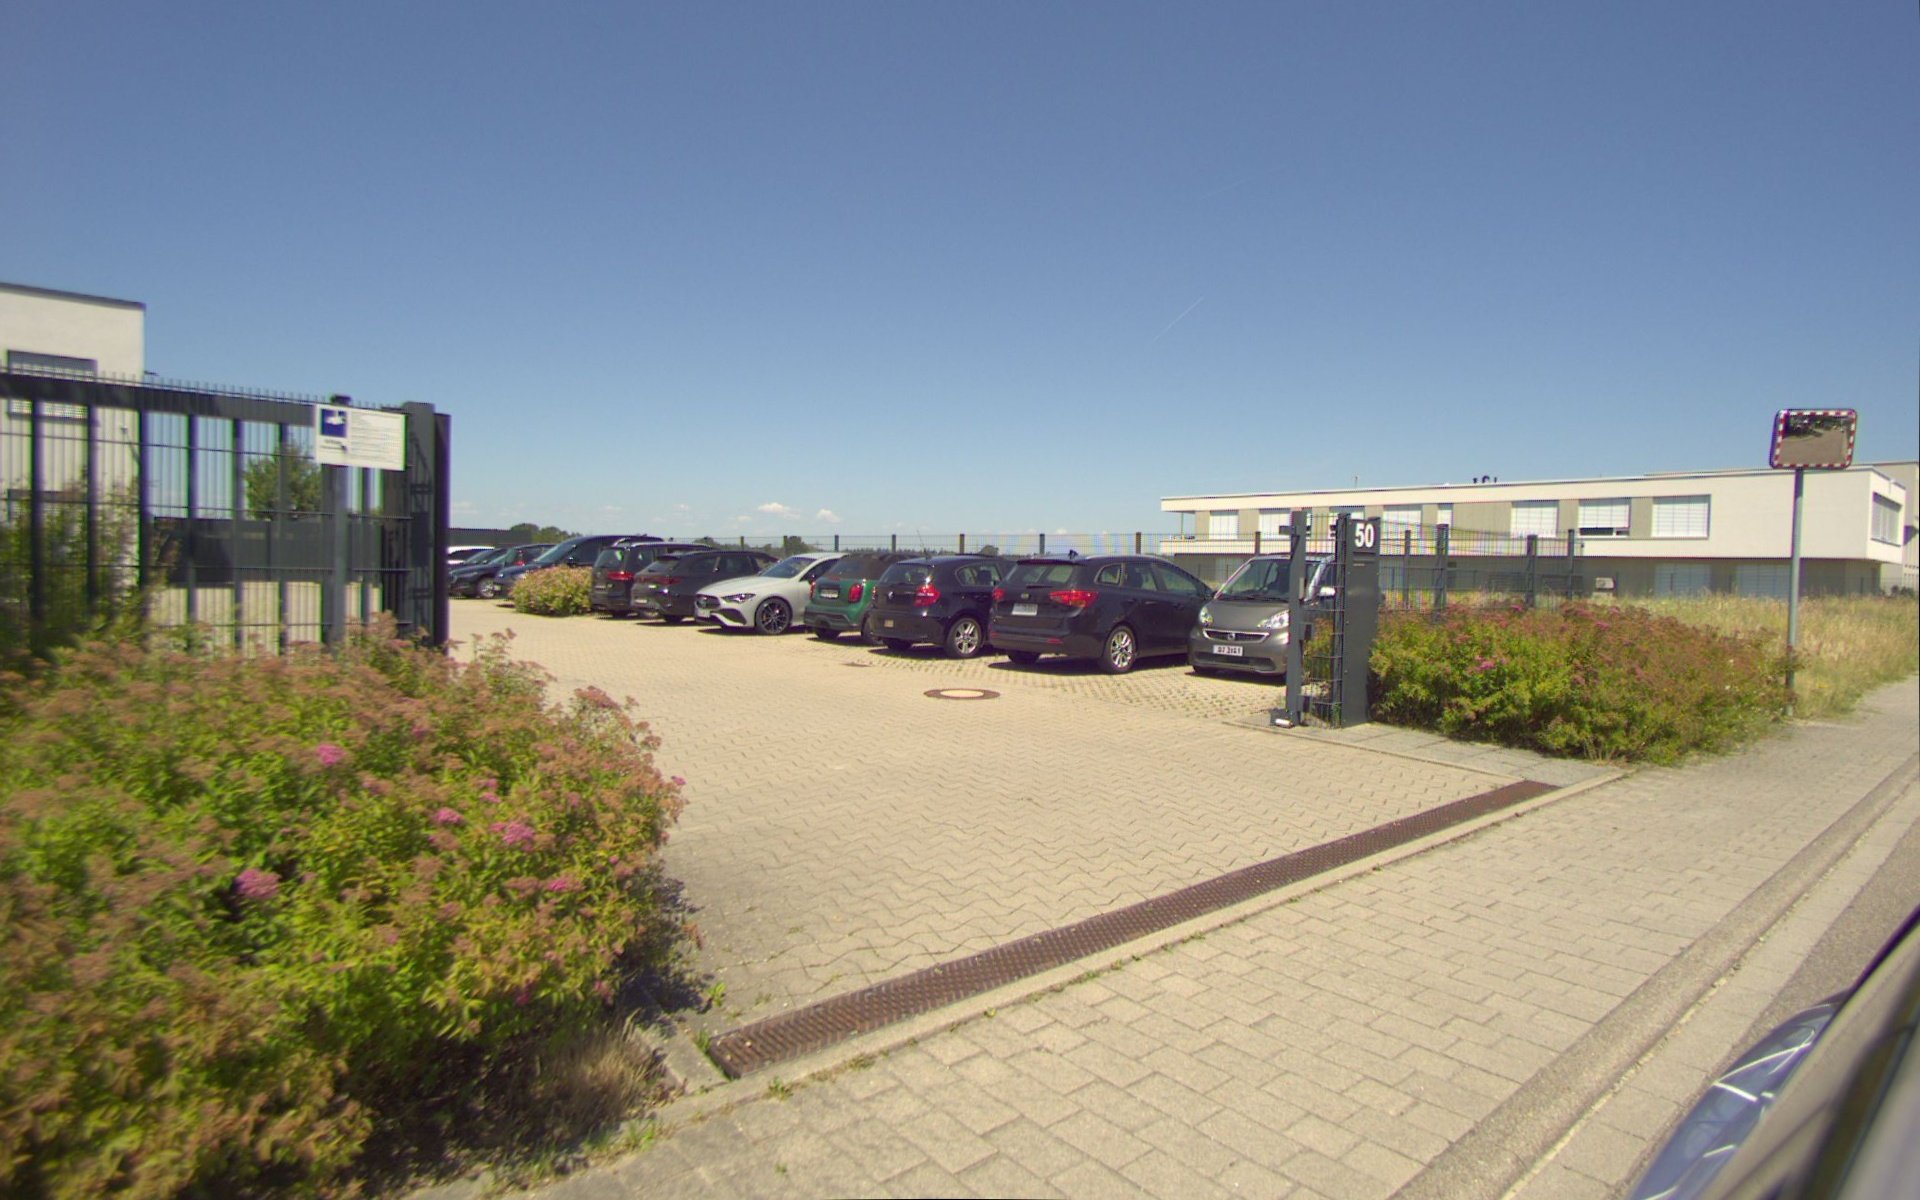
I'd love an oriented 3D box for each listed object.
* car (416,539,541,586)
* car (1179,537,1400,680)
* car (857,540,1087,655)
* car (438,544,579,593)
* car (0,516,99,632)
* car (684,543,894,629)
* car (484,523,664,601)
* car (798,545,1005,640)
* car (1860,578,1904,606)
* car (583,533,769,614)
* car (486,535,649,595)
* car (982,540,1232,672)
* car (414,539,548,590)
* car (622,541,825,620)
[{"bbox_3d":[-16.515,-1.288,34.787,3.586,1.545,1.528,-1,3,-42],"label":"car"},{"bbox_3d":[4.158,0.039,12.685,2.615,1.593,1.470,-1,3,-41],"label":"car"},{"bbox_3d":[0.237,-0.098,15.130,3.275,1.514,1.517,-1,3,-42],"label":"car"},{"bbox_3d":[-13.496,-0.959,30.356,3.586,1.365,1.528,-1,4,-42],"label":"car"},{"bbox_3d":[-12.902,-0.423,13.817,1.675,1.396,3.995,2,2,-41],"label":"car"},{"bbox_3d":[-3.039,-0.296,18.344,3.480,1.414,1.517,-1,4,-42],"label":"car"},{"bbox_3d":[-10.020,-0.993,26.436,4.056,1.869,1.751,-1,3,-42],"label":"car"},{"bbox_3d":[-0.922,-0.176,16.971,3.275,1.430,1.460,-1,3,-42],"label":"car"},{"bbox_3d":[55.505,-0.464,60.906,4.010,1.577,1.670,1,1,-44],"label":"car"},{"bbox_3d":[-6.244,-0.610,22.479,3.720,1.653,1.517,-1,3,-42],"label":"car"},{"bbox_3d":[-11.292,-1.022,29.275,4.056,1.593,1.751,-1,4,-42],"label":"car"},{"bbox_3d":[2.000,0.004,13.360,3.275,1.514,1.517,-1,3,-42],"label":"car"},{"bbox_3d":[-15.157,-1.133,32.110,3.586,1.545,1.528,-1,3,-42],"label":"car"},{"bbox_3d":[-4.691,-0.425,20.375,3.720,1.448,1.517,-1,4,-42],"label":"car"}]
